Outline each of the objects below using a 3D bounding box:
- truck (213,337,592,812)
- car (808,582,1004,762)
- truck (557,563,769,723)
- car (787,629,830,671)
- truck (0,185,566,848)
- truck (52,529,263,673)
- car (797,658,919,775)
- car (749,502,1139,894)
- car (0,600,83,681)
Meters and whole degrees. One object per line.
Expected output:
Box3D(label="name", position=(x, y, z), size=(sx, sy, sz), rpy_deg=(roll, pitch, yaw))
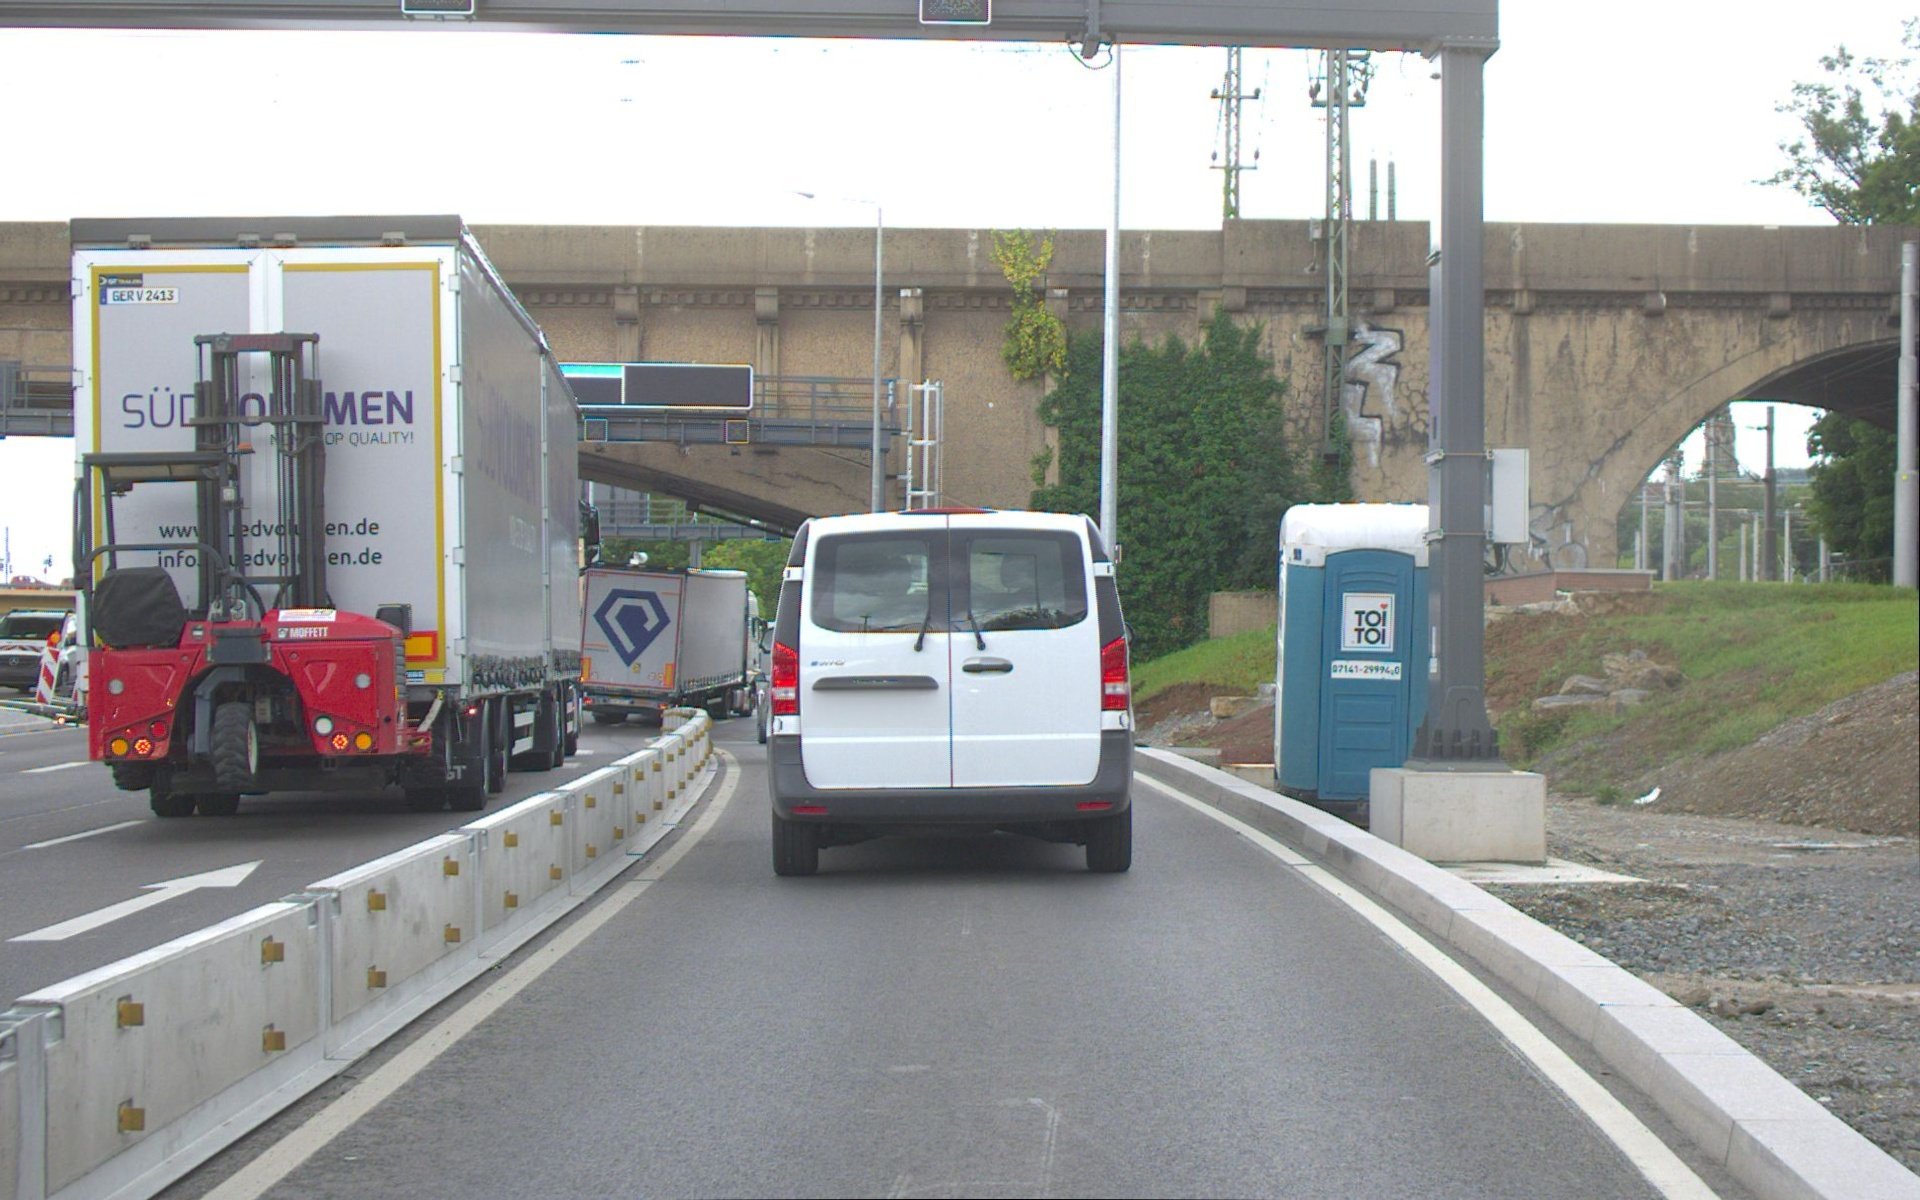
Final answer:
Box3D(label="truck", position=(-5.560, -0.306, 36.261), size=(2.987, 4.162, 11.242), rpy_deg=(-1, 1, -5))
Box3D(label="car", position=(-0.569, 0.678, 32.923), size=(1.749, 1.620, 3.845), rpy_deg=(0, -1, -3))
Box3D(label="truck", position=(-7.780, 1.164, 92.914), size=(3.317, 3.797, 16.590), rpy_deg=(2, -1, 3))
Box3D(label="car", position=(-7.425, 2.448, 169.017), size=(1.993, 2.007, 4.000), rpy_deg=(0, 0, -1))
Box3D(label="truck", position=(-4.829, -0.523, 26.212), size=(2.917, 4.003, 10.201), rpy_deg=(-1, 0, -3))
Box3D(label="truck", position=(-23.921, 0.061, 103.409), size=(2.899, 4.048, 13.988), rpy_deg=(0, 0, 1))
Box3D(label="car", position=(-1.401, 1.598, 46.313), size=(1.501, 1.464, 3.399), rpy_deg=(1, -3, -4))
Box3D(label="car", position=(-0.009, 0.457, 19.188), size=(1.876, 1.884, 4.753), rpy_deg=(1, 0, 2))
Box3D(label="car", position=(-21.328, 0.904, 78.482), size=(1.825, 1.801, 3.801), rpy_deg=(0, 0, -3))
